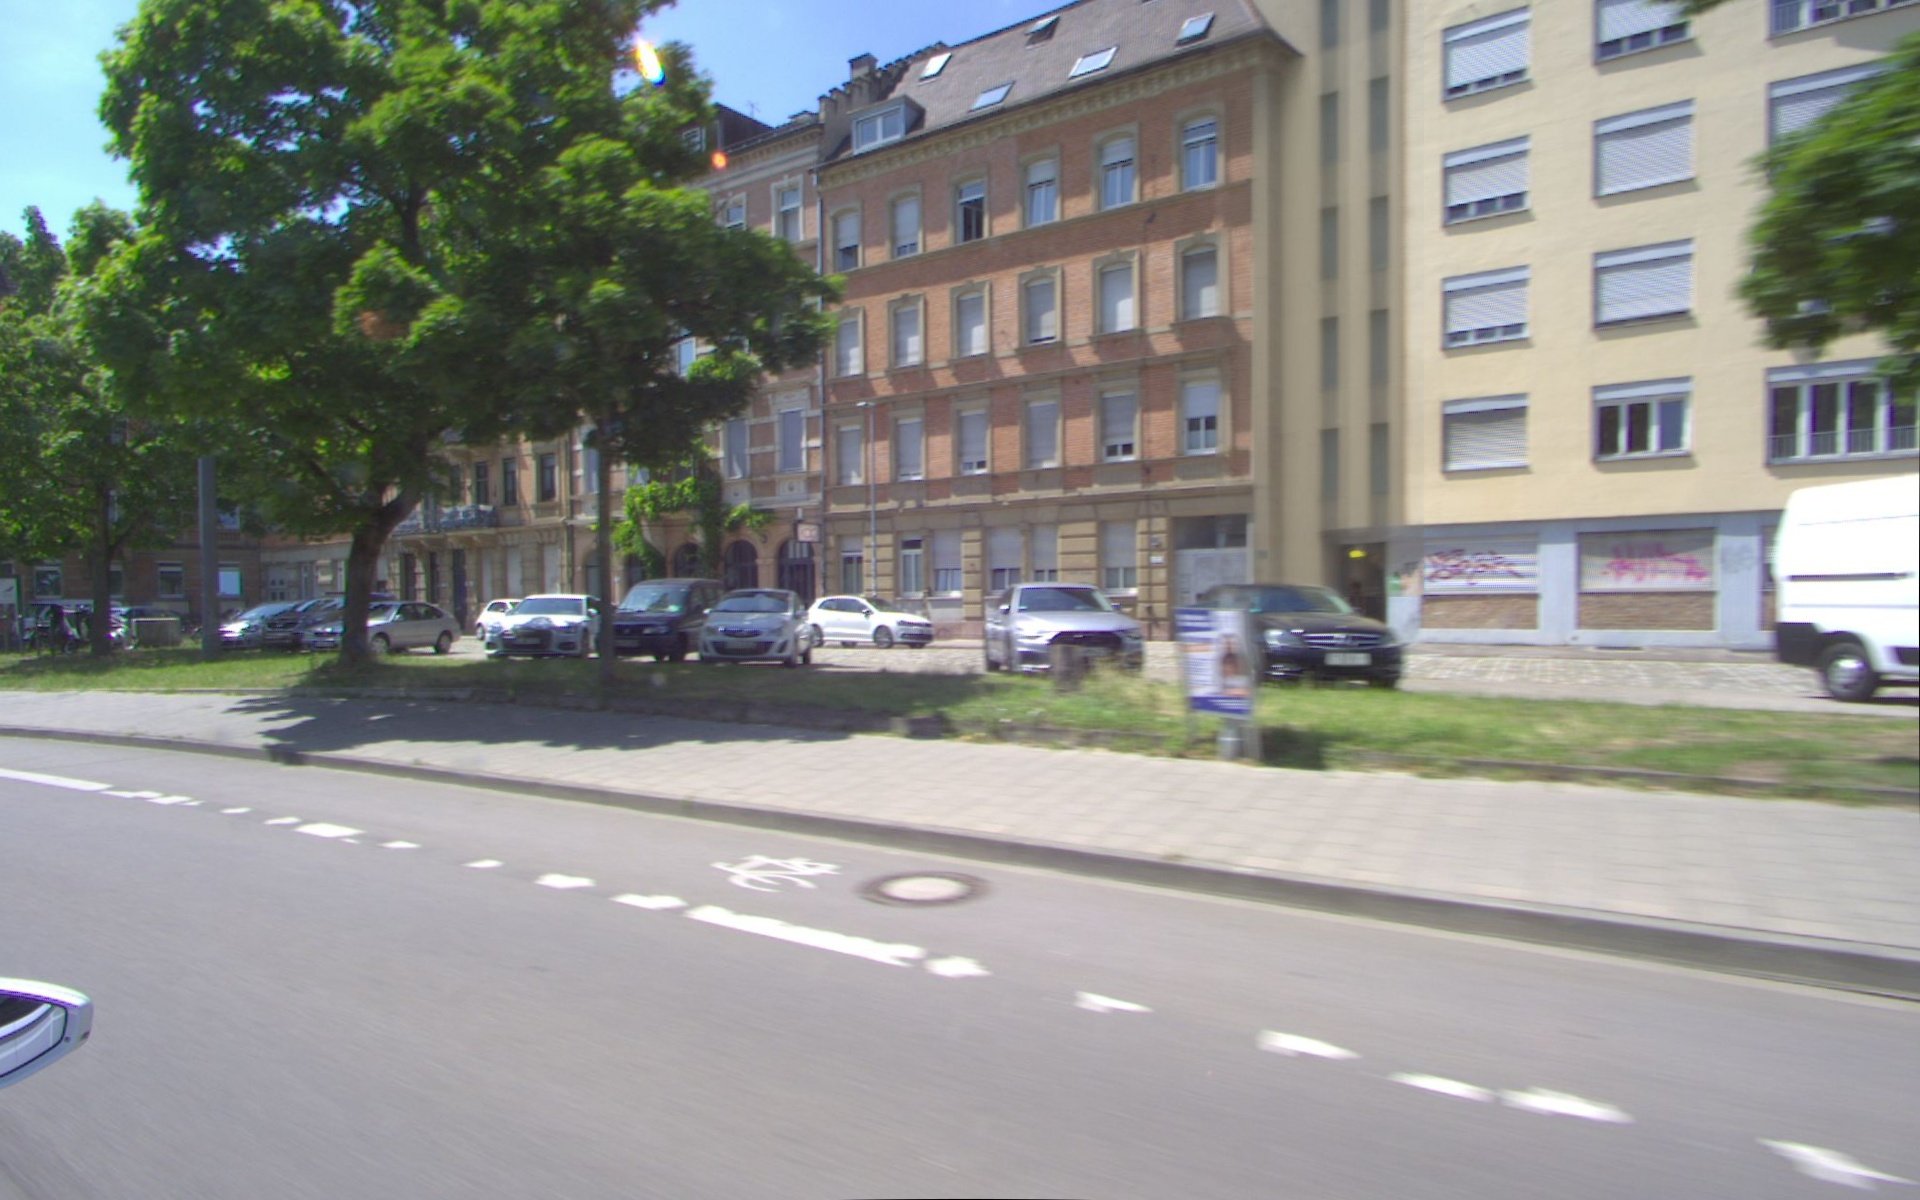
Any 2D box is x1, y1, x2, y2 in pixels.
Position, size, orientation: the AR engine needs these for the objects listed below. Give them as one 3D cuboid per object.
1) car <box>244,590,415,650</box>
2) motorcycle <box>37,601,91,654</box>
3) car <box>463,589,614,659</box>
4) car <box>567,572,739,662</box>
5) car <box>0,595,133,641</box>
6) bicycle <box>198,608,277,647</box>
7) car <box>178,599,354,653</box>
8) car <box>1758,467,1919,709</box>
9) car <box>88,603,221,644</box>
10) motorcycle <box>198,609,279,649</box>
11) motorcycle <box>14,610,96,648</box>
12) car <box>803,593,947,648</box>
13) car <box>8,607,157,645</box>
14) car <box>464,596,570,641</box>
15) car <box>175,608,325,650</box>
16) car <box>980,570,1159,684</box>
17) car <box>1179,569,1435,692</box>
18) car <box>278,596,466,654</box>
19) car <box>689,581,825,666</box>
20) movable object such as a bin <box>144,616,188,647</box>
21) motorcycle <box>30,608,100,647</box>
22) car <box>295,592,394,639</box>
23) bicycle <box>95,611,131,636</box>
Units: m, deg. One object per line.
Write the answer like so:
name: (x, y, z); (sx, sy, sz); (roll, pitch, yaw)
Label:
car: (-16.866, 0.551, 27.052); (1.763, 1.488, 4.093); (0, -1, 6)
motorcycle: (-25.127, 0.764, 28.070); (1.831, 1.432, 0.673); (0, 2, 35)
car: (-8.881, 0.523, 21.576); (2.110, 1.330, 4.784); (0, -1, -12)
car: (-6.194, 0.360, 20.721); (1.934, 1.683, 4.000); (0, -1, 7)
car: (-34.368, 0.699, 37.891); (1.800, 1.621, 4.875); (0, -1, 6)
bicycle: (-24.170, 0.910, 33.511); (0.624, 1.252, 2.067); (0, -1, 43)
car: (-19.320, 0.713, 28.150); (1.552, 1.394, 4.348); (0, -1, 7)
car: (11.028, -0.141, 9.557); (2.194, 2.492, 5.552); (0, -1, -3)
car: (-29.536, 0.860, 36.871); (1.576, 1.451, 3.869); (0, -1, 4)
motorcycle: (-23.315, 0.913, 32.392); (2.063, 1.252, 0.805); (0, -1, -42)
motorcycle: (-28.043, 0.899, 31.056); (0.519, 1.135, 1.822); (0, -1, 26)
car: (-2.376, 0.572, 27.662); (3.663, 1.438, 1.775); (-1, -1, 33)
car: (-32.136, 0.949, 36.830); (1.725, 1.349, 4.000); (0, -1, 6)
car: (-16.333, 0.692, 36.861); (3.946, 1.550, 1.831); (-1, -1, 35)
car: (-24.925, 1.018, 35.250); (1.934, 1.394, 3.969); (-1, -1, 41)
car: (1.444, 0.399, 15.091); (1.934, 1.446, 4.693); (0, -1, -3)
car: (4.314, 0.386, 13.277); (1.934, 1.356, 4.433); (0, -1, 1)
car: (-14.646, 0.623, 25.224); (1.935, 1.330, 3.999); (0, -1, 11)
car: (-3.668, 0.440, 18.770); (1.679, 1.418, 4.001); (0, -1, 1)
movable object such as a bin: (-24.477, 0.964, 30.881); (0.694, 0.949, 0.980); (-1, -1, 44)
motorcycle: (-27.190, 0.837, 30.447); (0.471, 1.135, 1.517); (0, -1, 32)
car: (-26.683, 0.681, 43.390); (4.589, 1.928, 1.915); (-1, -1, 34)
bicycle: (-27.933, 0.767, 33.031); (0.491, 0.816, 1.452); (0, -1, -22)
